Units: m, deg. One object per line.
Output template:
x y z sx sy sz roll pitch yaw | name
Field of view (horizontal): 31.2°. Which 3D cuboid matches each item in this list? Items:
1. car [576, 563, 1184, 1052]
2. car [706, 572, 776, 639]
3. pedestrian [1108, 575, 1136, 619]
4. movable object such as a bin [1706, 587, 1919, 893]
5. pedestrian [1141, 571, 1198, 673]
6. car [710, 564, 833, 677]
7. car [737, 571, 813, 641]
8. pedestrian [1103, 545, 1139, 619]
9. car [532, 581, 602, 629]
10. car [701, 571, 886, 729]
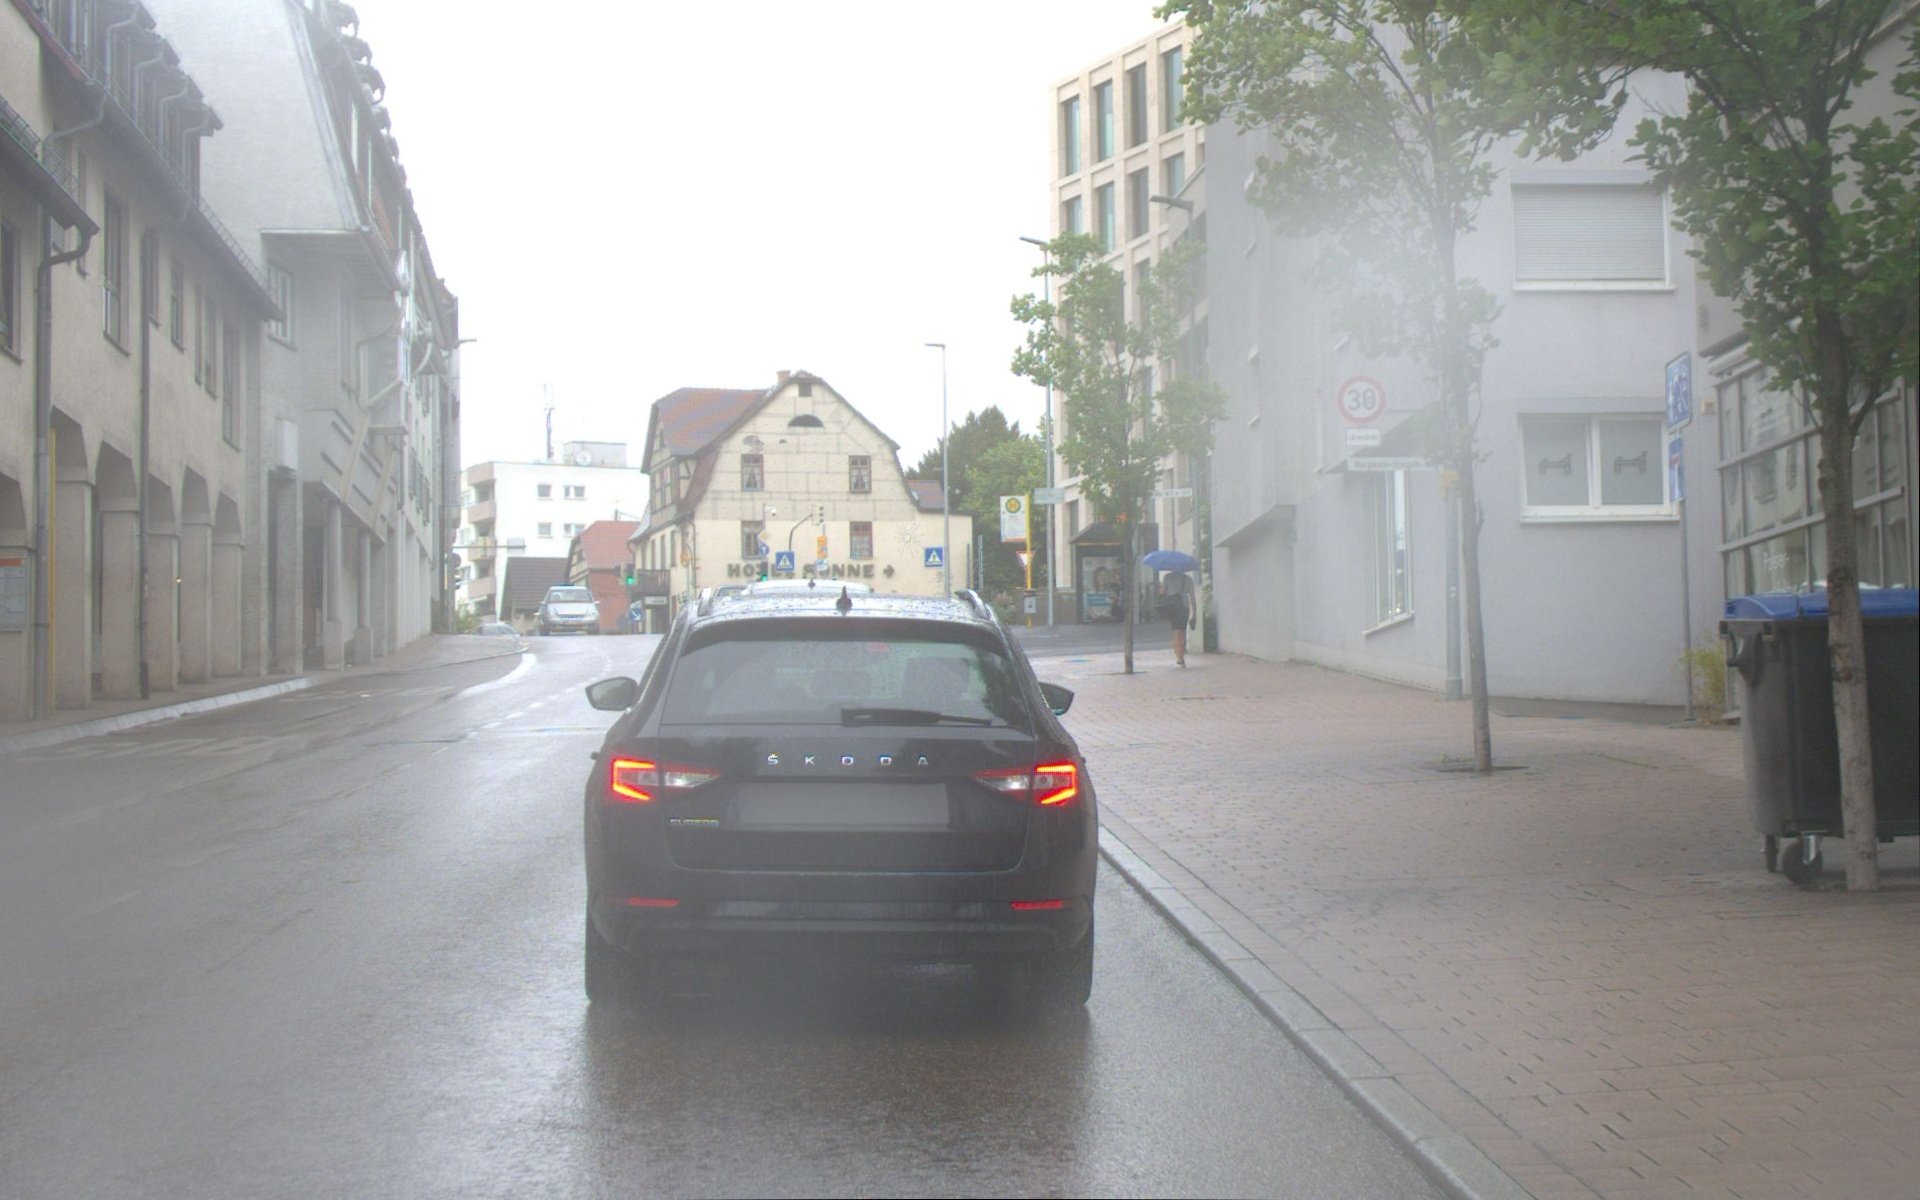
-0.307 0.660 13.249 1.944 1.561 4.417 0 0 -1 | car
-6.800 0.173 107.206 1.993 2.007 4.000 -1 0 -2 | car
4.365 -0.092 92.689 0.672 1.158 0.635 -2 0 -3 | pedestrian
4.230 0.620 15.948 1.234 1.330 1.172 -2 1 -1 | movable object such as a bin
3.268 0.337 53.758 0.736 1.537 1.038 -3 0 0 | pedestrian
-2.752 0.280 49.954 1.680 1.555 4.000 -1 0 -4 | car
-4.321 0.134 80.016 1.680 1.555 4.000 -1 0 -4 | car
4.262 -0.477 91.069 0.782 1.933 1.021 -2 0 -3 | pedestrian
-12.525 0.151 109.740 1.677 1.505 3.588 0 0 3 | car
-1.731 0.471 34.849 1.677 1.505 3.589 0 0 -6 | car
